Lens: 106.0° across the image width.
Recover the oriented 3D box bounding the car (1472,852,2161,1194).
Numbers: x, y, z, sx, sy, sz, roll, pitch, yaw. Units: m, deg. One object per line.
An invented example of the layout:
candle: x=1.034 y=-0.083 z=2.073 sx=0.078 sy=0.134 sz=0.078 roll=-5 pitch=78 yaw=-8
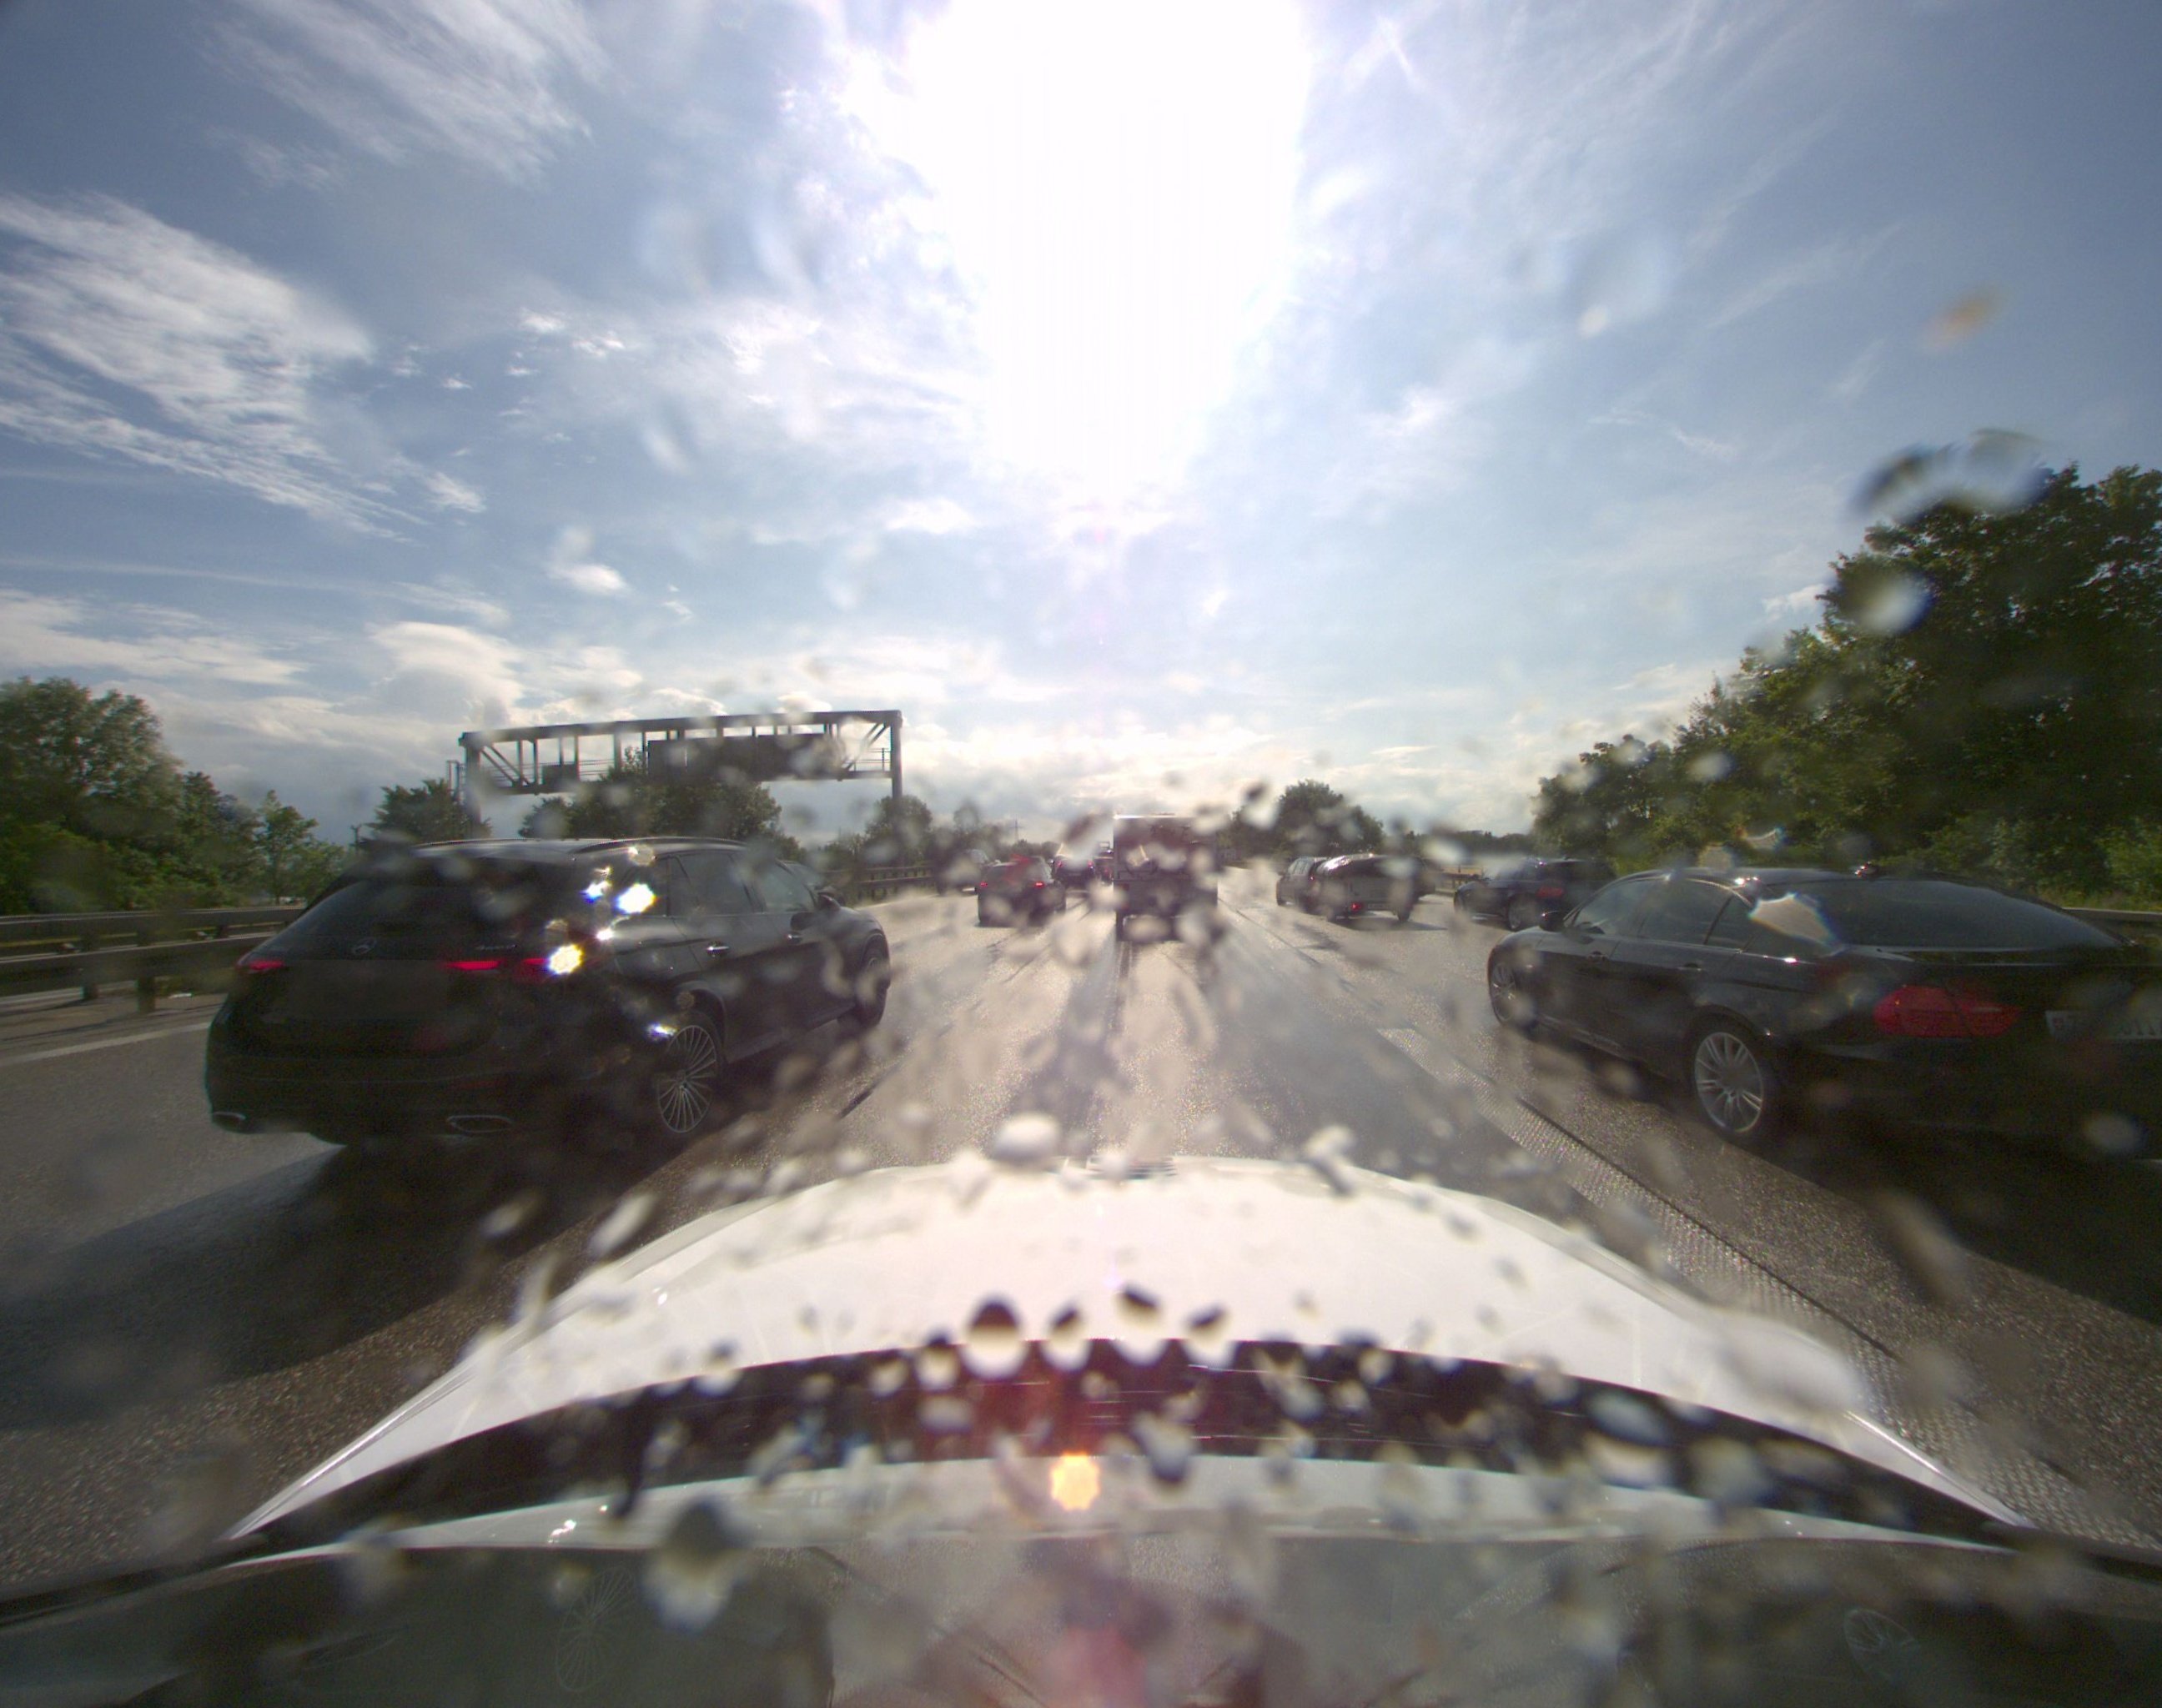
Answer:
car: x=4.227 y=0.715 z=5.334 sx=1.732 sy=1.420 sz=3.840 roll=-1 pitch=0 yaw=5

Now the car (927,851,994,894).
car: x=-5.032 y=0.770 z=34.521 sx=1.985 sy=1.720 sz=4.003 roll=0 pitch=0 yaw=3

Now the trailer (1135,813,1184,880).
trailer: x=5.419 y=-0.471 z=55.119 sx=2.991 sy=4.166 sz=8.552 roll=0 pitch=0 yaw=7

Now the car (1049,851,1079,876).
car: x=-1.404 y=0.778 z=69.119 sx=1.984 sy=2.013 sz=4.006 roll=3 pitch=0 yaw=5

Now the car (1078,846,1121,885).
car: x=1.047 y=0.603 z=43.503 sx=1.984 sy=2.014 sz=4.006 roll=0 pitch=0 yaw=5

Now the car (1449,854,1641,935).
car: x=9.059 y=0.718 z=16.360 sx=1.762 sy=1.401 sz=4.296 roll=-1 pitch=0 yaw=6

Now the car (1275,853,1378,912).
car: x=6.638 y=0.719 z=22.463 sx=1.846 sy=1.442 sz=4.263 roll=-1 pitch=0 yaw=5

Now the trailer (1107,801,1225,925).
trailer: x=1.974 y=0.200 z=19.661 sx=2.363 sy=2.483 sz=6.531 roll=0 pitch=0 yaw=5

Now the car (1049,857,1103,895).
car: x=-0.124 y=0.828 z=32.464 sx=1.797 sy=1.407 sz=4.005 roll=0 pitch=0 yaw=5

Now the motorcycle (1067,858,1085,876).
motorcycle: x=-0.341 y=0.964 z=60.150 sx=1.068 sy=1.271 sz=2.694 roll=-1 pitch=0 yaw=5

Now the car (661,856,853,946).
car: x=-6.167 y=0.825 z=16.092 sx=1.748 sy=1.516 sz=4.215 roll=-1 pitch=0 yaw=6

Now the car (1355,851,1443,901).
car: x=10.170 y=0.673 z=26.303 sx=1.663 sy=1.482 sz=3.676 roll=-1 pitch=0 yaw=5

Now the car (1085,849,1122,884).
car: x=1.449 y=0.752 z=51.181 sx=1.984 sy=2.013 sz=4.006 roll=3 pitch=0 yaw=5

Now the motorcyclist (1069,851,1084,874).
motorcyclist: x=-0.342 y=0.622 z=60.224 sx=1.059 sy=1.718 sz=0.786 roll=-1 pitch=-1 yaw=5

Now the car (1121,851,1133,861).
car: x=7.908 y=0.335 z=139.732 sx=1.869 sy=1.760 sz=4.002 roll=0 pitch=0 yaw=2

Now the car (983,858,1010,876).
car: x=-8.049 y=1.219 z=77.780 sx=1.986 sy=1.623 sz=4.002 roll=-1 pitch=0 yaw=2

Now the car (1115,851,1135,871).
car: x=4.592 y=0.733 z=84.510 sx=1.984 sy=2.014 sz=4.006 roll=0 pitch=0 yaw=5

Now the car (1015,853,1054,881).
car: x=-3.051 y=0.822 z=54.260 sx=1.984 sy=1.772 sz=4.006 roll=-1 pitch=0 yaw=5

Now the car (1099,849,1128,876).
car: x=2.625 y=0.648 z=64.899 sx=1.984 sy=2.013 sz=4.006 roll=1 pitch=0 yaw=5

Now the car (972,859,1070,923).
car: x=-1.377 y=0.849 z=20.297 sx=1.748 sy=1.387 sz=3.951 roll=-1 pitch=0 yaw=6

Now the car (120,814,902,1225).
car: x=-2.868 y=0.696 z=5.558 sx=1.984 sy=1.661 sz=4.411 roll=-1 pitch=-1 yaw=5

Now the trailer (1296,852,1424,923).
trailer: x=6.348 y=0.704 z=19.006 sx=1.846 sy=1.442 sz=4.153 roll=-1 pitch=0 yaw=5
